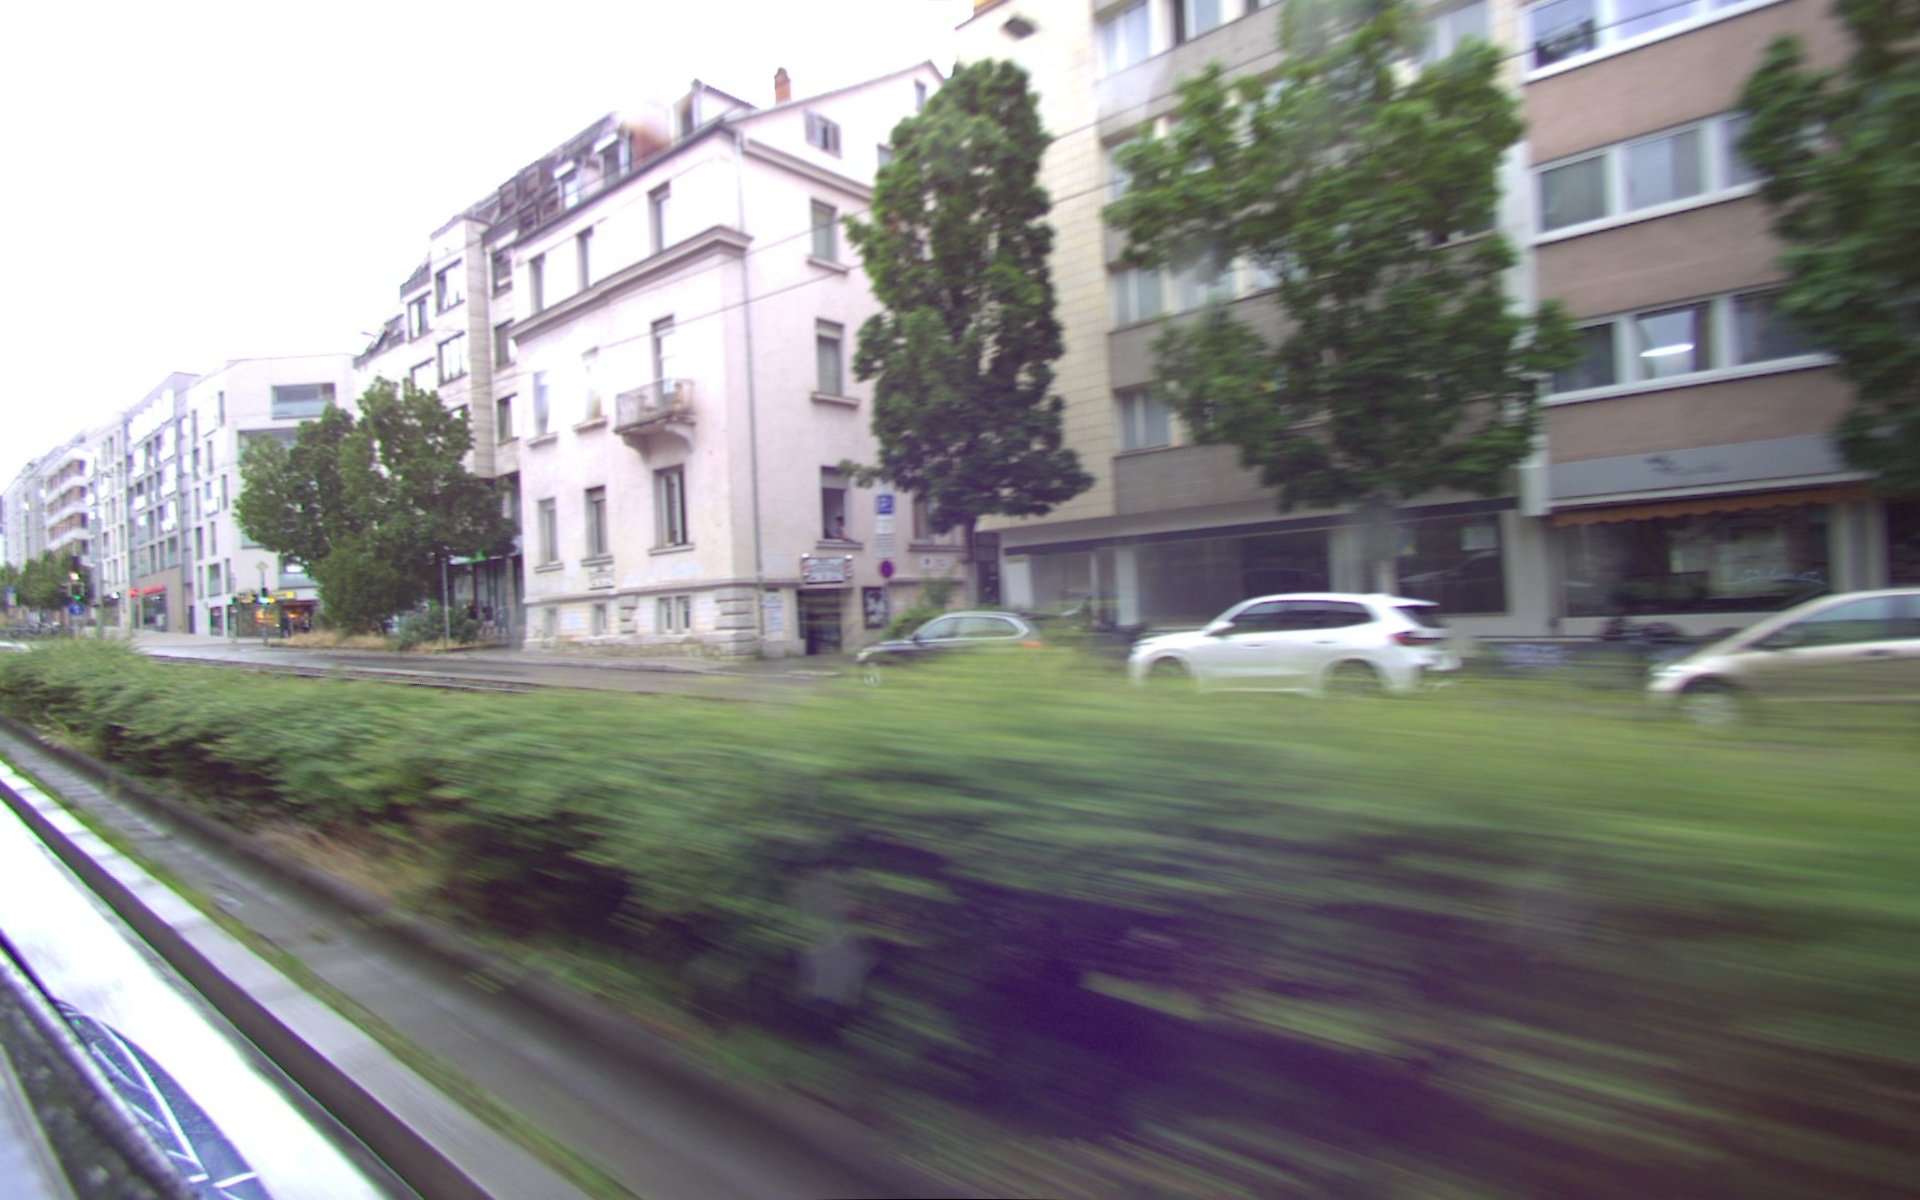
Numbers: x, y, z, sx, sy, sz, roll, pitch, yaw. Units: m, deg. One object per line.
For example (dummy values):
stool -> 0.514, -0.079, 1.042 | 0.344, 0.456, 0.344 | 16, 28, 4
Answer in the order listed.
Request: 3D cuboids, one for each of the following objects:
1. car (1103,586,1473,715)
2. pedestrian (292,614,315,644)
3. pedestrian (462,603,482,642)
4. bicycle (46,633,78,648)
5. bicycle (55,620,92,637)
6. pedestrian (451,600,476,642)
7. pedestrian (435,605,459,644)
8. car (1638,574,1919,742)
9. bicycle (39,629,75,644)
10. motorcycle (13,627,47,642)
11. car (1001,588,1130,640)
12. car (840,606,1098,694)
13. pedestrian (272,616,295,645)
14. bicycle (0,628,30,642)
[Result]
car -> 4.555, 0.655, 14.519 | 4.718, 1.560, 1.836 | 0, -2, 41
pedestrian -> -36.362, 1.613, 56.071 | 0.767, 1.580, 0.648 | -1, 3, 3
pedestrian -> -20.683, 0.944, 42.885 | 0.585, 1.609, 0.499 | 1, 3, 39
bicycle -> -61.525, 2.778, 69.373 | 0.383, 0.924, 1.784 | -1, 2, 10
bicycle -> -59.692, 1.928, 68.159 | 0.438, 0.987, 1.774 | 0, 2, 26
pedestrian -> -21.303, 0.910, 43.423 | 0.683, 1.737, 0.641 | 1, 3, 39
pedestrian -> -21.734, 1.031, 42.886 | 0.683, 1.560, 0.641 | 1, 3, 39
car -> 9.570, 0.527, 10.136 | 4.429, 1.560, 1.836 | 0, 1, 41
bicycle -> -61.042, 2.445, 68.411 | 0.385, 0.883, 1.772 | 0, 2, 28
motorcycle -> -67.164, 2.487, 73.105 | 0.540, 1.050, 1.748 | 2, 1, 26
car -> 3.296, 0.382, 31.051 | 1.859, 1.428, 4.374 | -1, 1, 39
car -> 0.043, 0.869, 18.245 | 4.718, 1.388, 1.676 | -2, -2, 41
pedestrian -> -44.046, 1.951, 65.903 | 0.956, 1.843, 0.923 | 0, 0, 32
bicycle -> -65.553, 2.431, 70.011 | 0.385, 0.924, 1.774 | 0, 1, 26
